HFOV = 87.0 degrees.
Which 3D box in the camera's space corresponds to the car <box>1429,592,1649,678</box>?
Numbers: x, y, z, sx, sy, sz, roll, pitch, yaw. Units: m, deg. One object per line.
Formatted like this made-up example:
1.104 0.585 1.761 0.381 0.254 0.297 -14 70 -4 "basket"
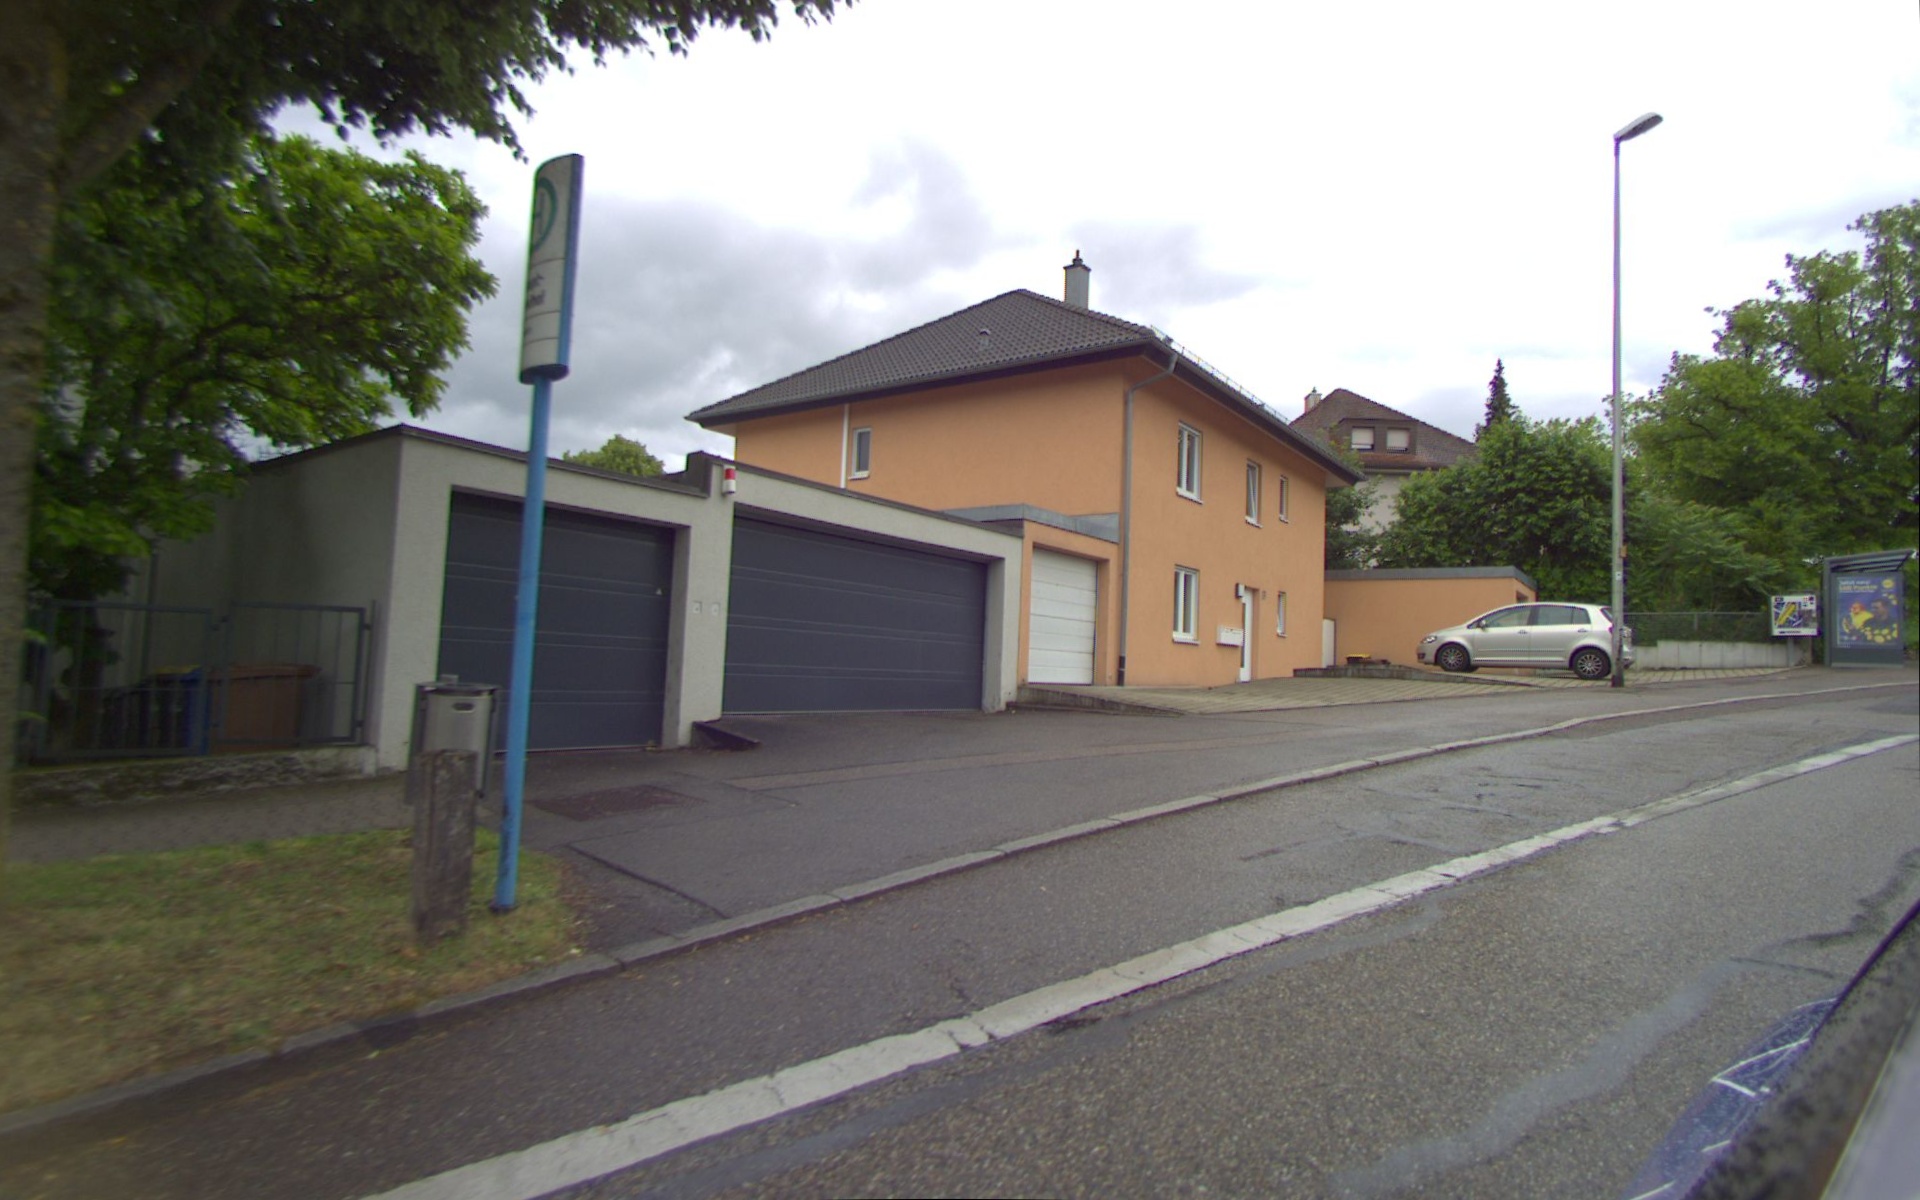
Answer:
12.318 0.695 21.635 3.851 1.586 1.703 2 0 39 "car"
